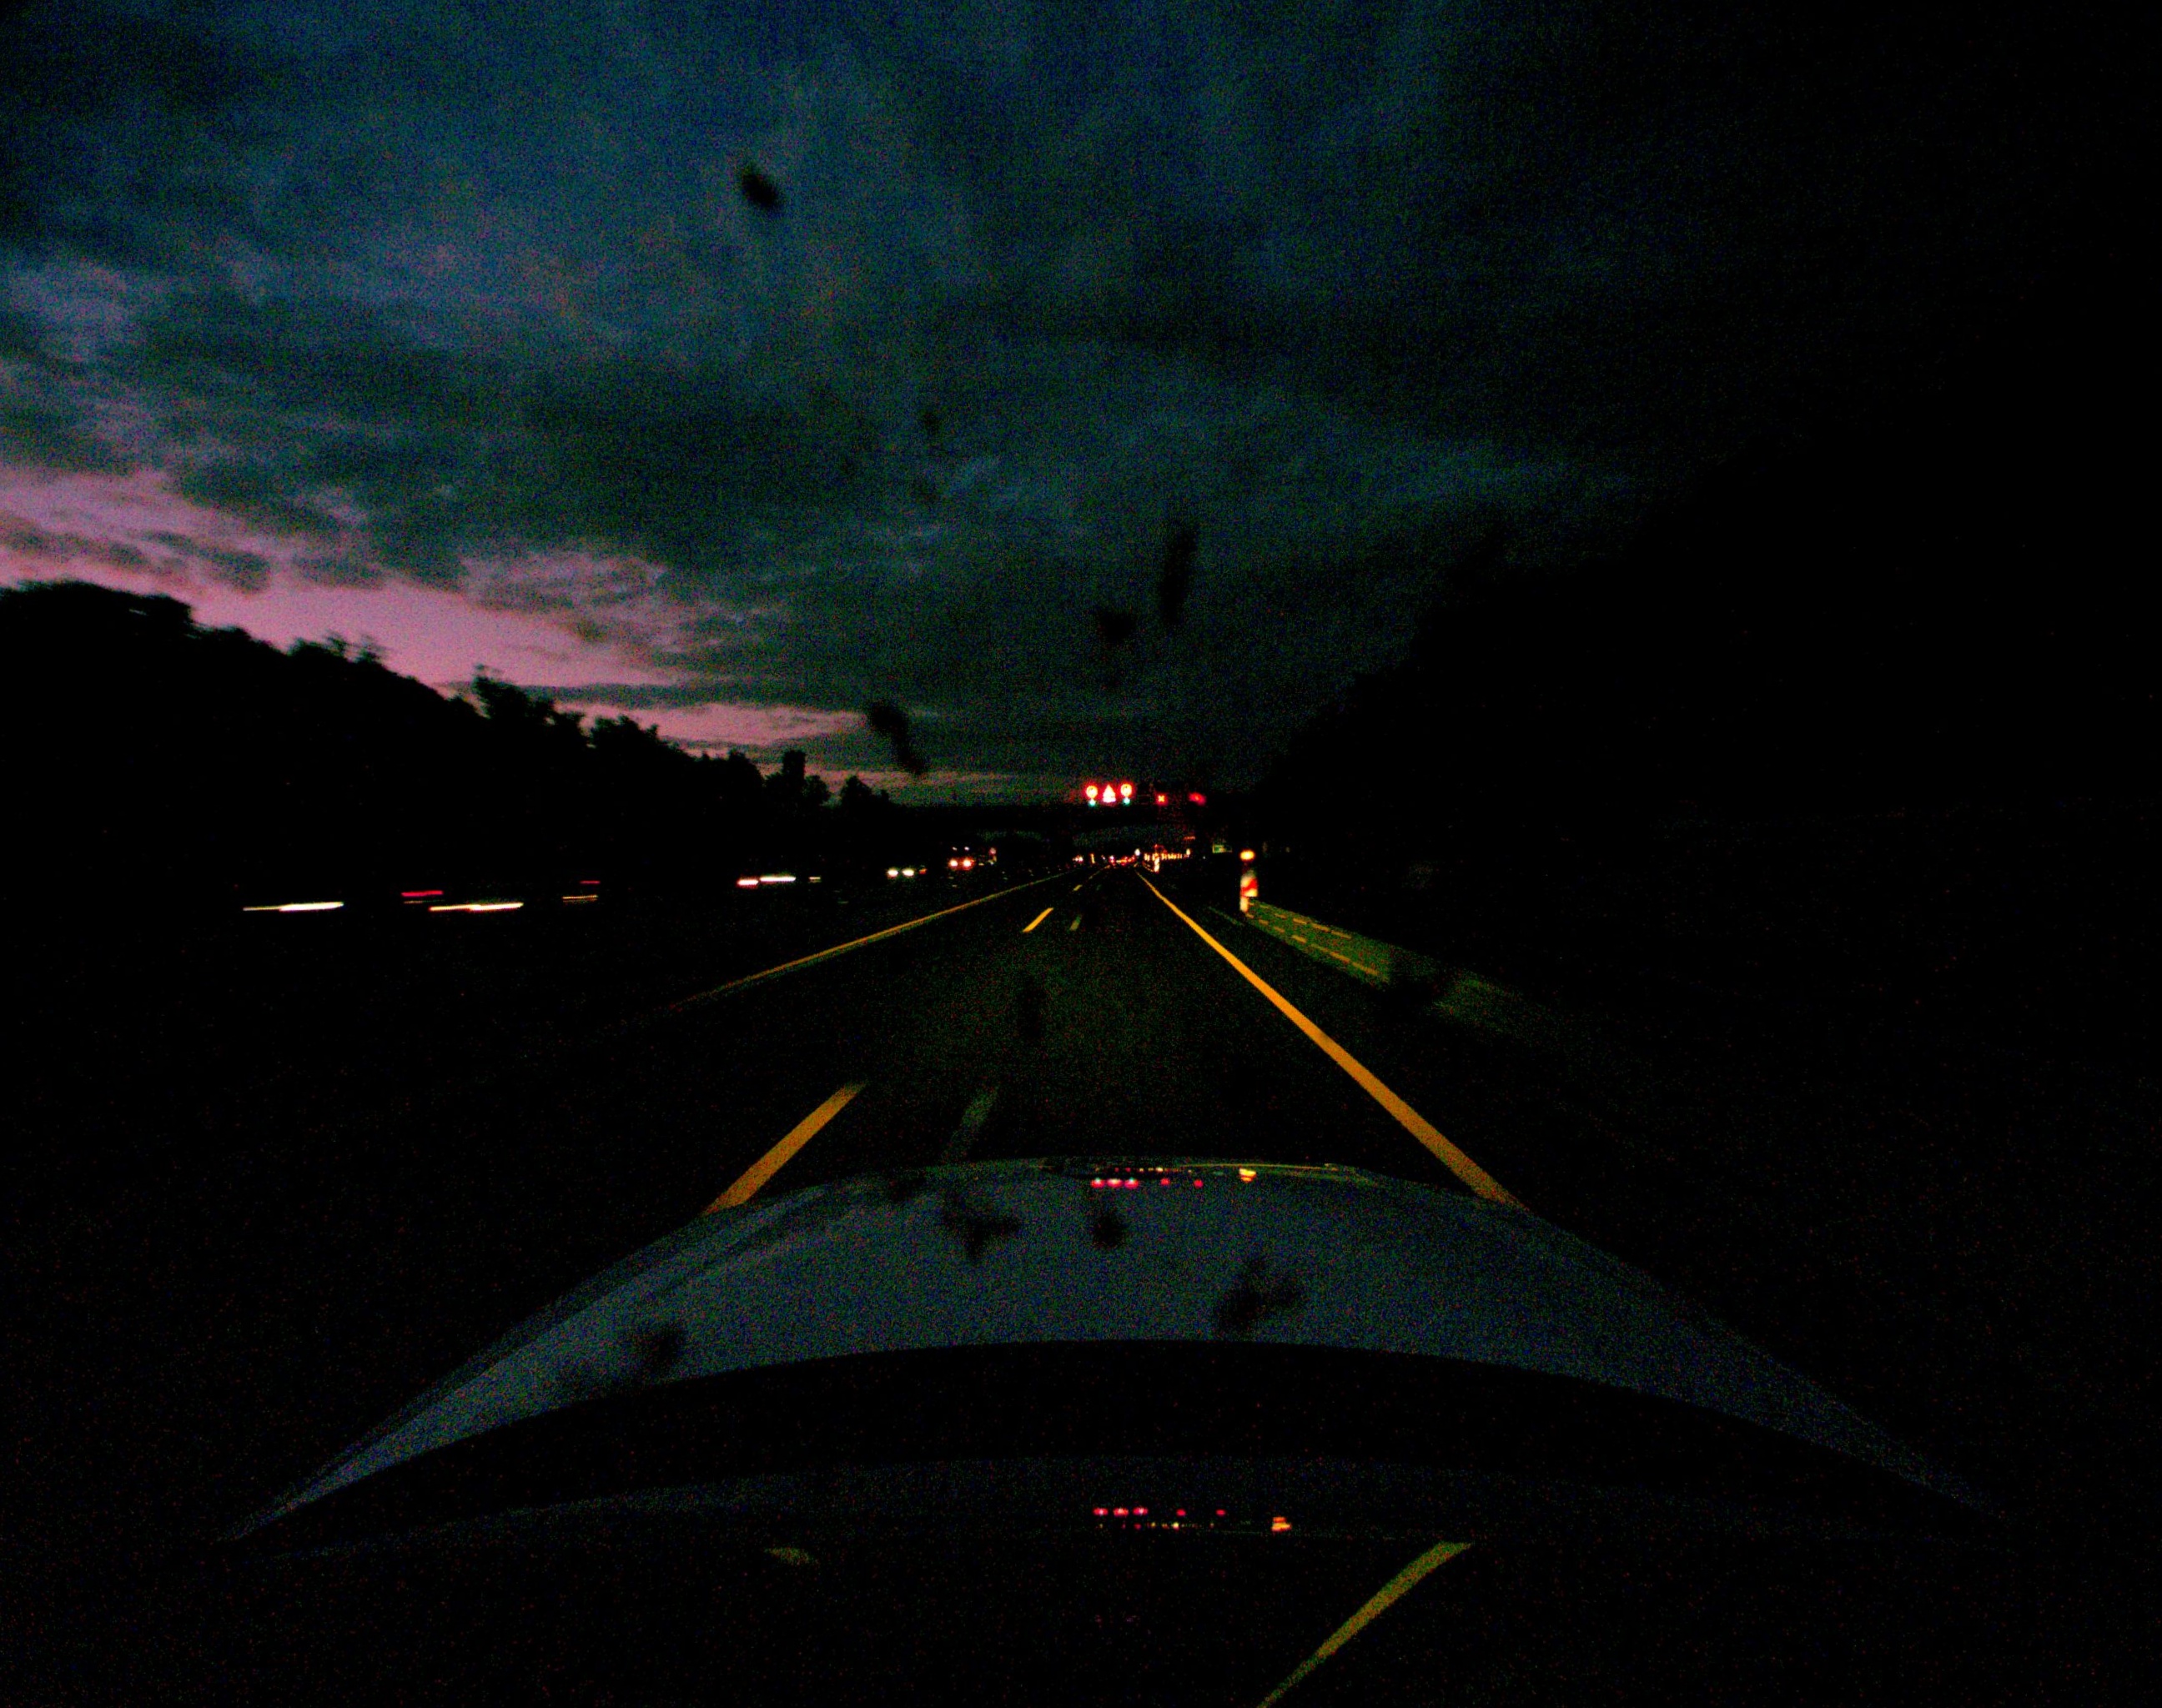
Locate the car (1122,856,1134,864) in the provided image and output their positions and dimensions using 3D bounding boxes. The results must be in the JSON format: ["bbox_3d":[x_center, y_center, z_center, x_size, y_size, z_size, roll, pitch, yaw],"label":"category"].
[{"bbox_3d":[8.721,1.076,149.710,1.962,1.437,4.007,0,-1,6],"label":"car"}]

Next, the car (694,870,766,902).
[{"bbox_3d":[-19.822,1.778,46.274,1.796,1.638,4.755,0,-1,3],"label":"car"}]

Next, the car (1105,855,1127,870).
[{"bbox_3d":[3.743,0.911,88.719,2.258,1.621,4.000,0,-1,1],"label":"car"}]

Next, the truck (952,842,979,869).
[{"bbox_3d":[-17.919,0.245,126.710,2.764,4.171,6.395,0,-1,5],"label":"truck"}]

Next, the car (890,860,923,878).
[{"bbox_3d":[-16.554,1.433,77.437,1.729,1.638,4.896,0,-1,3],"label":"car"}]

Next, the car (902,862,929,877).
[{"bbox_3d":[-18.519,1.675,91.118,1.584,1.604,5.040,0,-1,5],"label":"car"}]

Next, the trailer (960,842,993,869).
[{"bbox_3d":[-17.191,0.312,134.529,2.765,4.206,12.419,0,-1,5],"label":"trailer"}]

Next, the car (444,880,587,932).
[{"bbox_3d":[-20.571,1.825,29.920,1.672,1.638,4.755,0,-1,3],"label":"car"}]

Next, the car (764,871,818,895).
[{"bbox_3d":[-20.859,2.061,58.786,1.729,1.638,5.175,0,-1,3],"label":"car"}]

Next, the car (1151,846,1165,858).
[{"bbox_3d":[22.293,-0.680,236.324,3.591,3.396,8.018,0,-1,2],"label":"car"}]

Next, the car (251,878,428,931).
[{"bbox_3d":[-26.299,1.745,29.165,1.796,1.638,4.755,0,-1,3],"label":"car"}]
